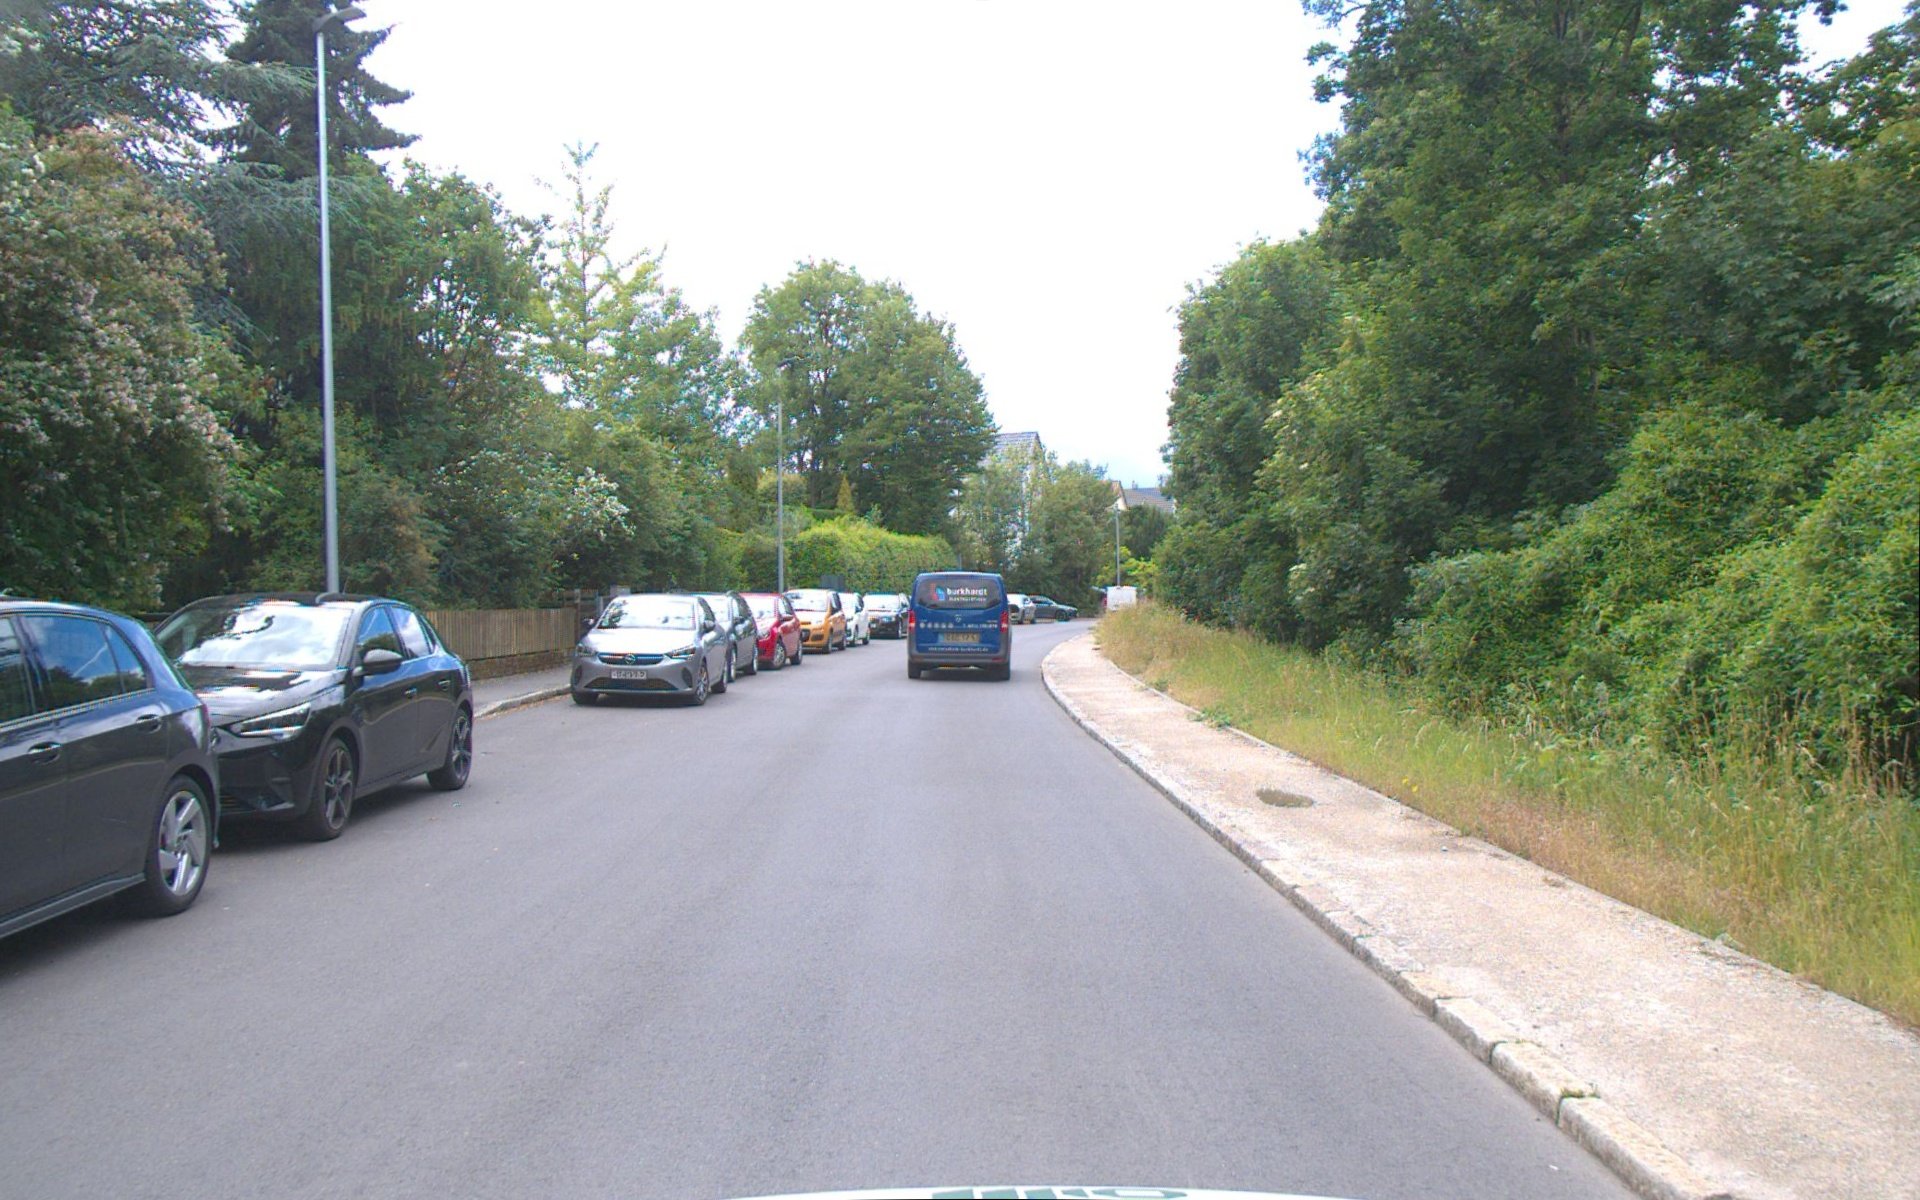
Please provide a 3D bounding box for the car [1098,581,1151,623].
[{"bbox_3d":[8.661,0.108,86.605,2.159,2.100,6.140,0,0,12],"label":"car"}]

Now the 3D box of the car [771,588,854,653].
[{"bbox_3d":[-3.630,0.468,41.215,1.511,1.541,3.646,0,0,3],"label":"car"}]

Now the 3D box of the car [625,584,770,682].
[{"bbox_3d":[-4.429,0.511,28.536,1.671,1.541,4.496,0,0,1],"label":"car"}]

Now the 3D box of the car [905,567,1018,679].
[{"bbox_3d":[-0.055,0.383,30.778,1.897,1.913,4.528,0,0,-3],"label":"car"}]

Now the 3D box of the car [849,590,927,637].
[{"bbox_3d":[-2.273,0.404,53.377,1.681,1.409,4.667,0,0,8],"label":"car"}]

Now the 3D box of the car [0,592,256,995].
[{"bbox_3d":[-4.299,0.698,6.147,1.672,1.441,4.148,0,0,-2],"label":"car"}]

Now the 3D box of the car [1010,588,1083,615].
[{"bbox_3d":[5.072,0.080,96.826,4.078,1.472,1.742,1,0,9],"label":"car"}]

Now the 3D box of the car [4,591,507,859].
[{"bbox_3d":[-4.387,0.672,11.051,1.672,1.441,4.131,0,0,-2],"label":"car"}]

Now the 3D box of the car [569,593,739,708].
[{"bbox_3d":[-4.140,0.631,22.960,1.672,1.434,4.159,0,0,-2],"label":"car"}]

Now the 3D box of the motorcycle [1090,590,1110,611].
[{"bbox_3d":[10.120,0.042,119.465,0.793,1.511,2.897,1,0,19],"label":"motorcycle"}]

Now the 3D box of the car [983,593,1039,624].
[{"bbox_3d":[2.462,0.374,78.806,1.792,1.398,4.449,1,0,14],"label":"car"}]

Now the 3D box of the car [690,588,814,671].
[{"bbox_3d":[-4.107,0.538,33.287,1.671,1.541,4.365,0,0,3],"label":"car"}]

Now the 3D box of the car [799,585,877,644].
[{"bbox_3d":[-3.338,0.379,45.815,1.554,1.541,3.593,0,0,5],"label":"car"}]
